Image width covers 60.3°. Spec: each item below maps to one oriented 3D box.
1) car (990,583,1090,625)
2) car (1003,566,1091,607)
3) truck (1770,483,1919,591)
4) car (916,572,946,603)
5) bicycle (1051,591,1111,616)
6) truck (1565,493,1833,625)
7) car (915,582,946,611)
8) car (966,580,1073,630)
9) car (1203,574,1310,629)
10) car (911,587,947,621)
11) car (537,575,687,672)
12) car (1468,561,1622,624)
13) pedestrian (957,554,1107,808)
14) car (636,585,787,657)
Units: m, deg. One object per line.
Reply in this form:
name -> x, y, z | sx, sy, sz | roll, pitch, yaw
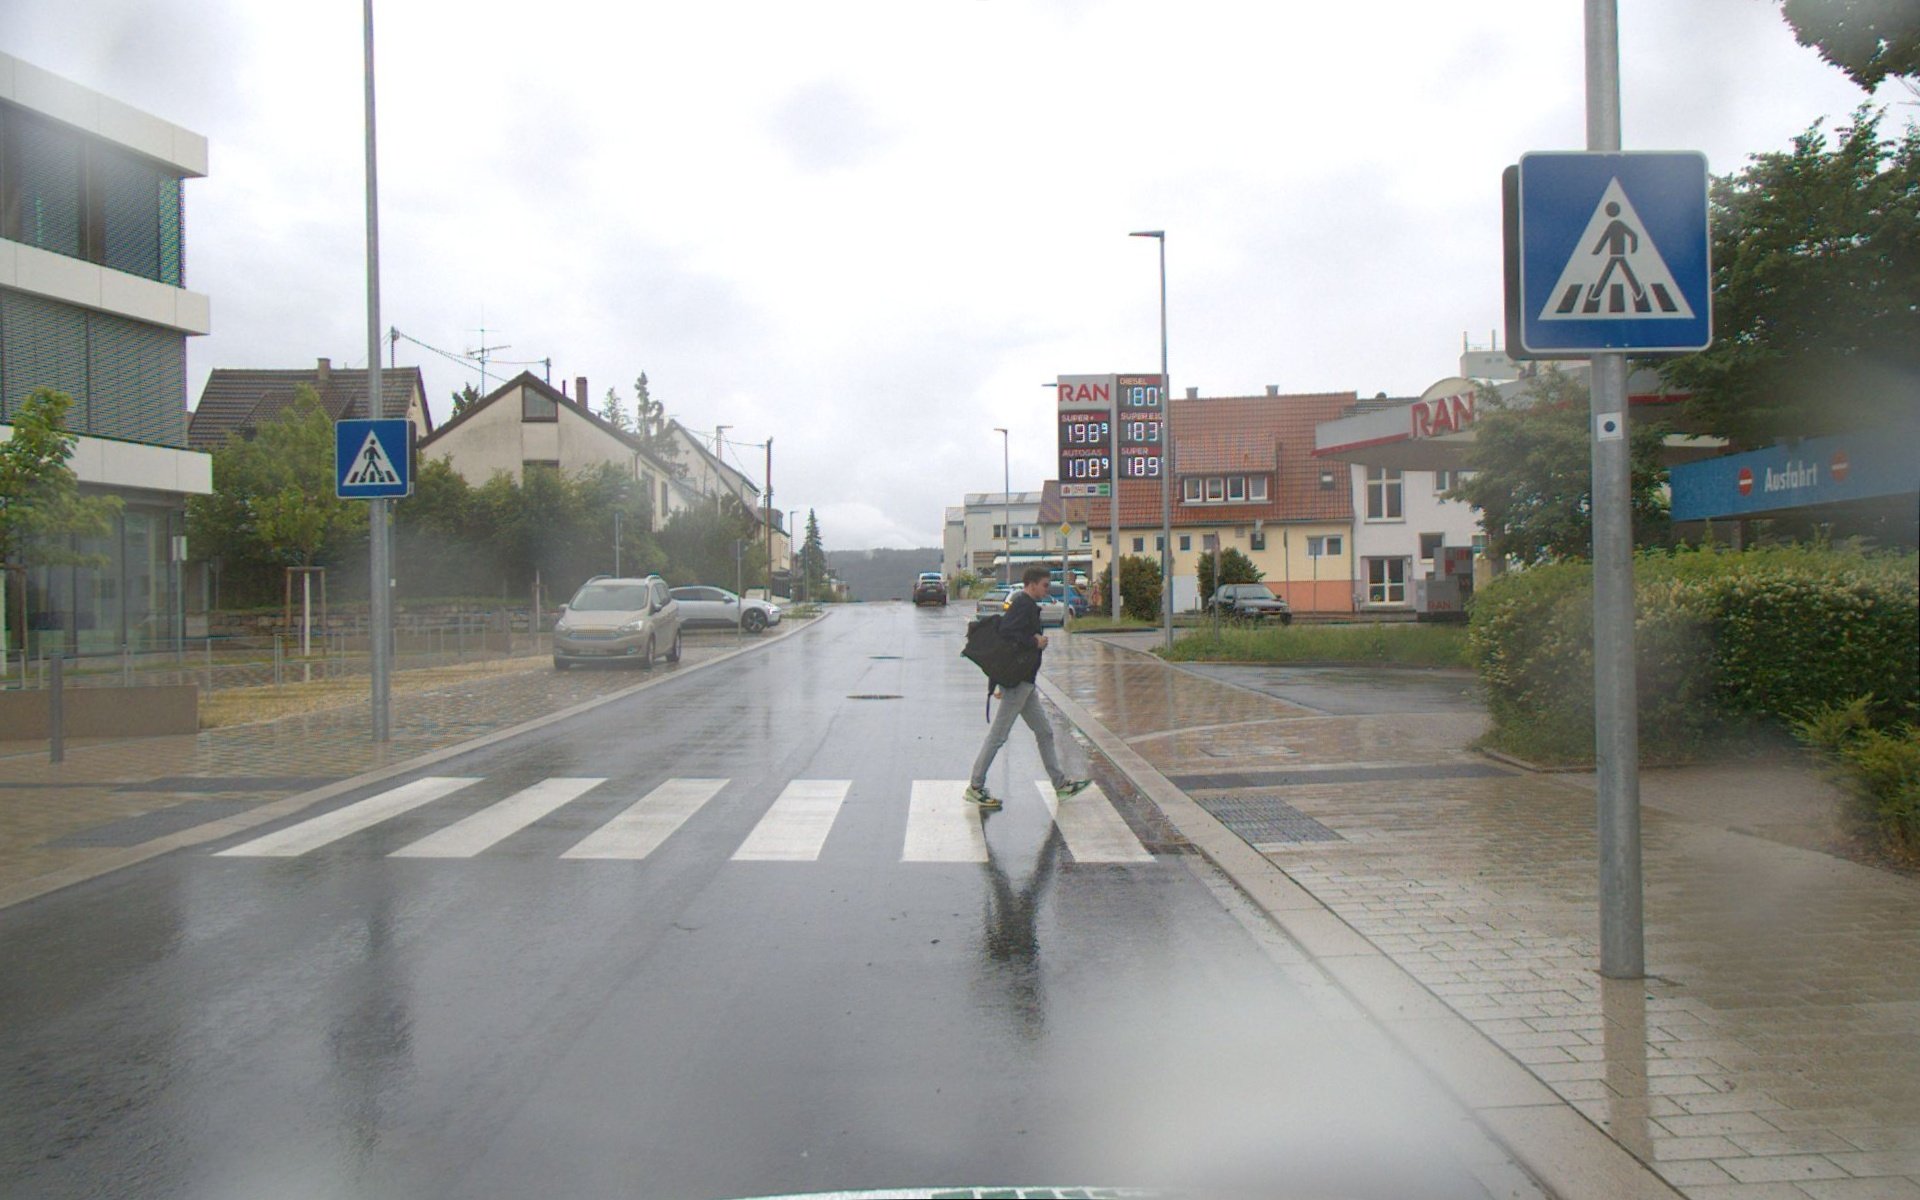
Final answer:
car -> 3.328, 0.178, 68.174 | 3.902, 1.519, 1.859 | 3, -2, 8
car -> 4.242, -0.664, 80.912 | 4.031, 1.736, 1.787 | 3, -2, -4
truck -> 20.128, -1.328, 36.722 | 1.955, 2.049, 3.994 | 3, -2, -7
car -> -1.816, -0.757, 103.346 | 1.746, 1.736, 3.999 | 3, -2, -1
bicycle -> 5.420, 0.149, 74.310 | 0.662, 1.085, 3.589 | 4, -2, -32
truck -> 22.806, -1.160, 51.087 | 7.596, 3.505, 2.668 | 3, -2, -16
car -> -1.930, -0.223, 109.632 | 1.953, 1.736, 3.999 | 3, -2, -1
car -> 2.195, 0.208, 59.984 | 1.917, 1.583, 3.982 | 1, -2, 37
car -> 9.463, 0.081, 53.054 | 1.959, 1.579, 3.987 | 3, -2, -12
car -> -1.793, 0.248, 96.571 | 1.953, 1.736, 3.999 | 3, -2, -1
car -> -6.446, 0.396, 31.078 | 1.953, 1.657, 4.152 | -1, 0, -1
car -> 15.503, -0.170, 43.852 | 3.465, 1.583, 1.942 | 1, -1, -21
pedestrian -> 0.499, 0.556, 11.864 | 0.993, 1.754, 0.772 | 0, 0, -4
car -> -8.039, 0.702, 53.589 | 4.667, 2.049, 1.995 | 3, -2, -10
